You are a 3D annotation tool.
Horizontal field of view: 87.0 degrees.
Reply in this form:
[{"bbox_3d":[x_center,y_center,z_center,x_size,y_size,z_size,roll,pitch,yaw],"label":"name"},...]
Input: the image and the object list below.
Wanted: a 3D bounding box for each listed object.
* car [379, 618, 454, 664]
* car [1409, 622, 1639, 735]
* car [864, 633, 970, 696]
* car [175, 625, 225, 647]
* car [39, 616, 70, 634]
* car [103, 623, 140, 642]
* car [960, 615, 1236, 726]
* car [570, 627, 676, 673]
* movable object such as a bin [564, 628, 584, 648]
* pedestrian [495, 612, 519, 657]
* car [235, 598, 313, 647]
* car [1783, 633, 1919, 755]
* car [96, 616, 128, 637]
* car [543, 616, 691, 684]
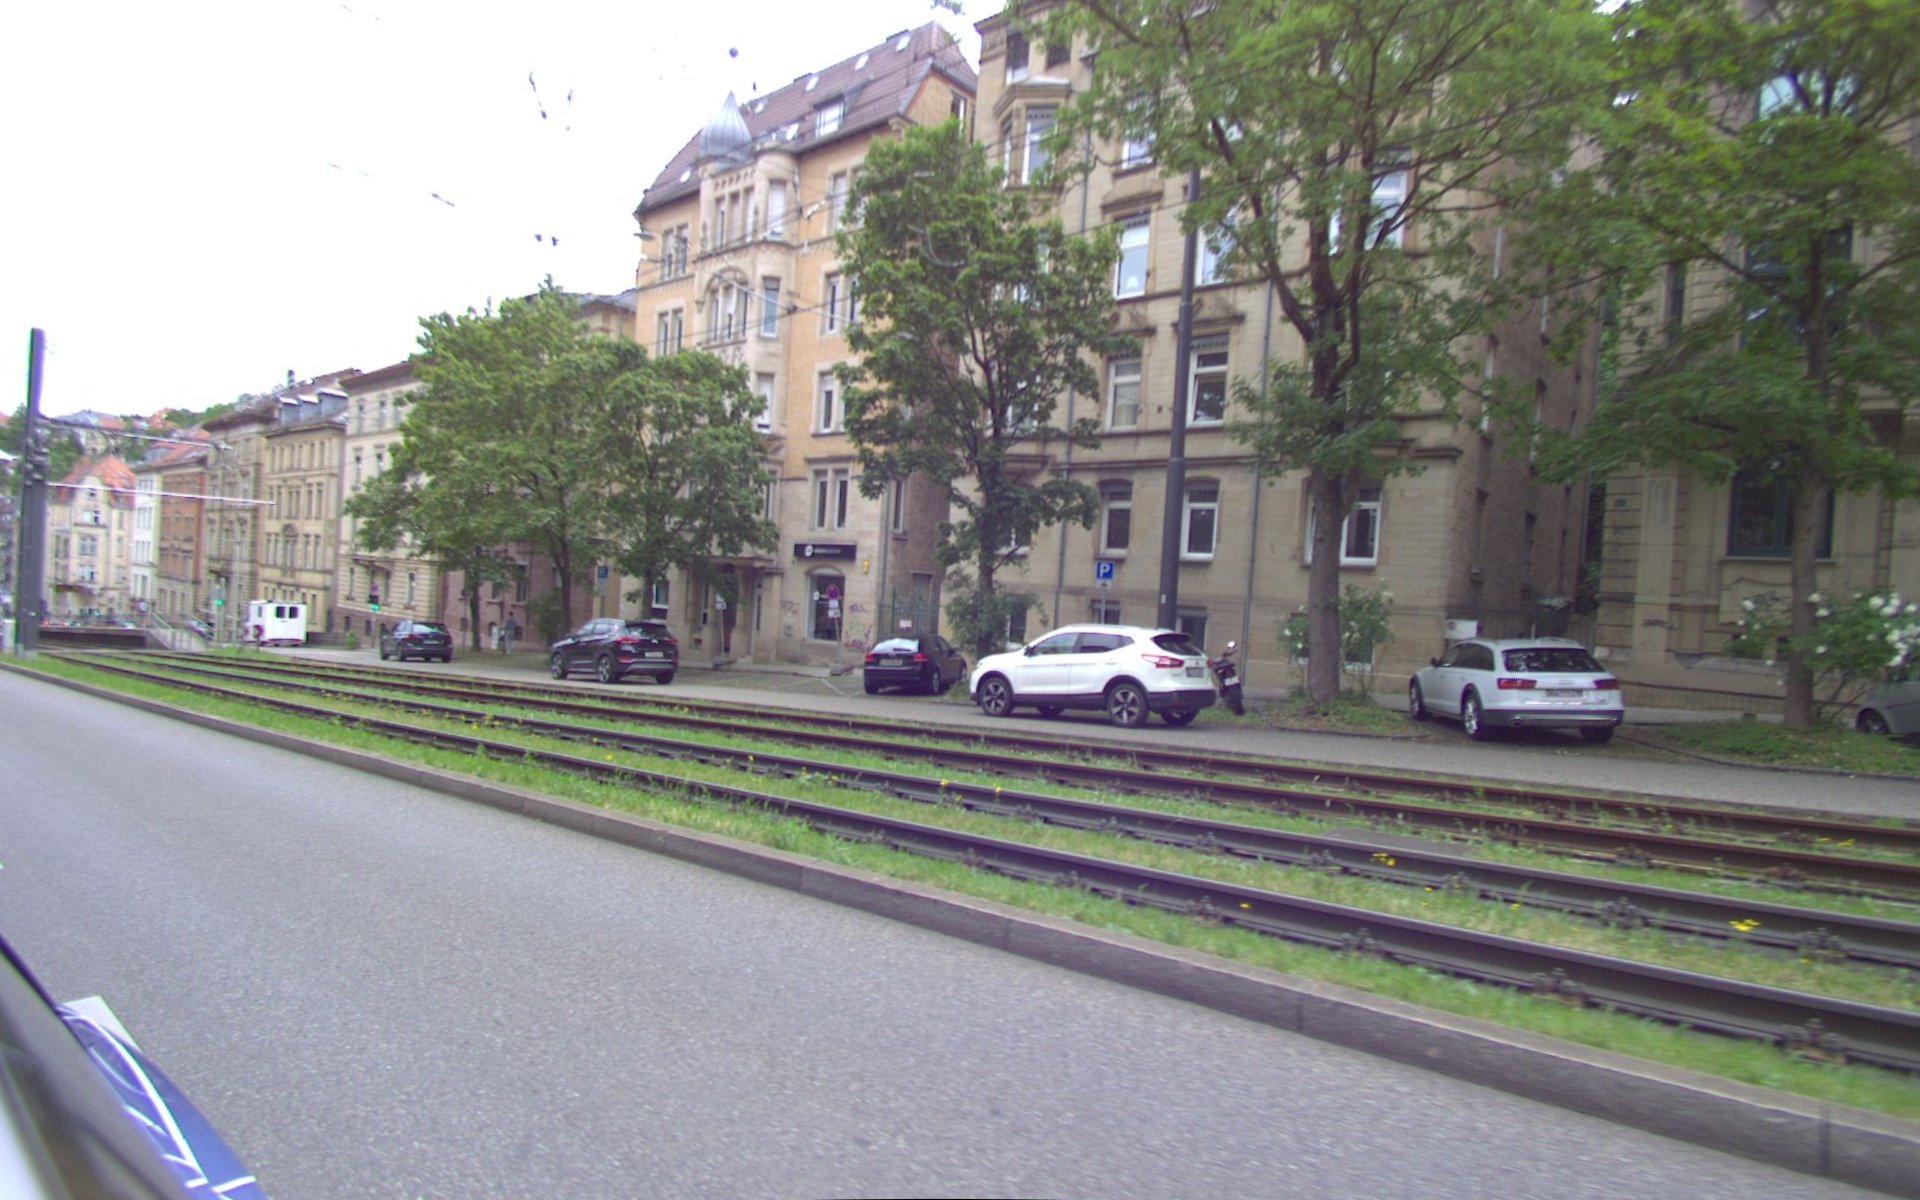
[{"bbox_3d":[-21.267,1.611,39.542,1.855,1.663,4.480,4,-4,-37],"label":"car"},{"bbox_3d":[8.562,1.194,15.816,1.766,1.481,4.143,1,-4,9],"label":"car"},{"bbox_3d":[-0.961,1.517,24.938,1.694,1.375,4.169,0,-2,11],"label":"car"},{"bbox_3d":[-53.611,2.537,71.378,4.744,1.439,1.731,-1,-4,40],"label":"car"},{"bbox_3d":[-89.104,2.439,99.589,4.575,1.749,1.691,-1,-3,42],"label":"car"},{"bbox_3d":[-62.633,2.456,75.577,3.652,1.388,1.560,-1,-3,41],"label":"car"},{"bbox_3d":[2.213,1.110,16.960,4.344,1.629,1.761,-1,-4,41],"label":"car"},{"bbox_3d":[-11.296,1.643,34.225,1.766,1.433,3.988,0,-2,9],"label":"car"},{"bbox_3d":[-16.726,1.632,43.845,0.628,0.842,0.576,-2,-3,41],"label":"movable object such as a bin"},{"bbox_3d":[-20.574,1.552,45.974,0.796,2.029,0.713,-2,-3,39],"label":"pedestrian"},{"bbox_3d":[-41.272,1.381,60.840,6.518,2.720,2.366,-1,-4,43],"label":"car"},{"bbox_3d":[13.464,1.240,13.519,1.849,1.585,4.182,0,-2,7],"label":"car"},{"bbox_3d":[-80.867,2.527,96.494,4.138,1.874,1.829,-1,-3,42],"label":"car"},{"bbox_3d":[-9.093,1.291,26.693,4.241,1.669,1.761,-1,-4,41],"label":"car"}]
